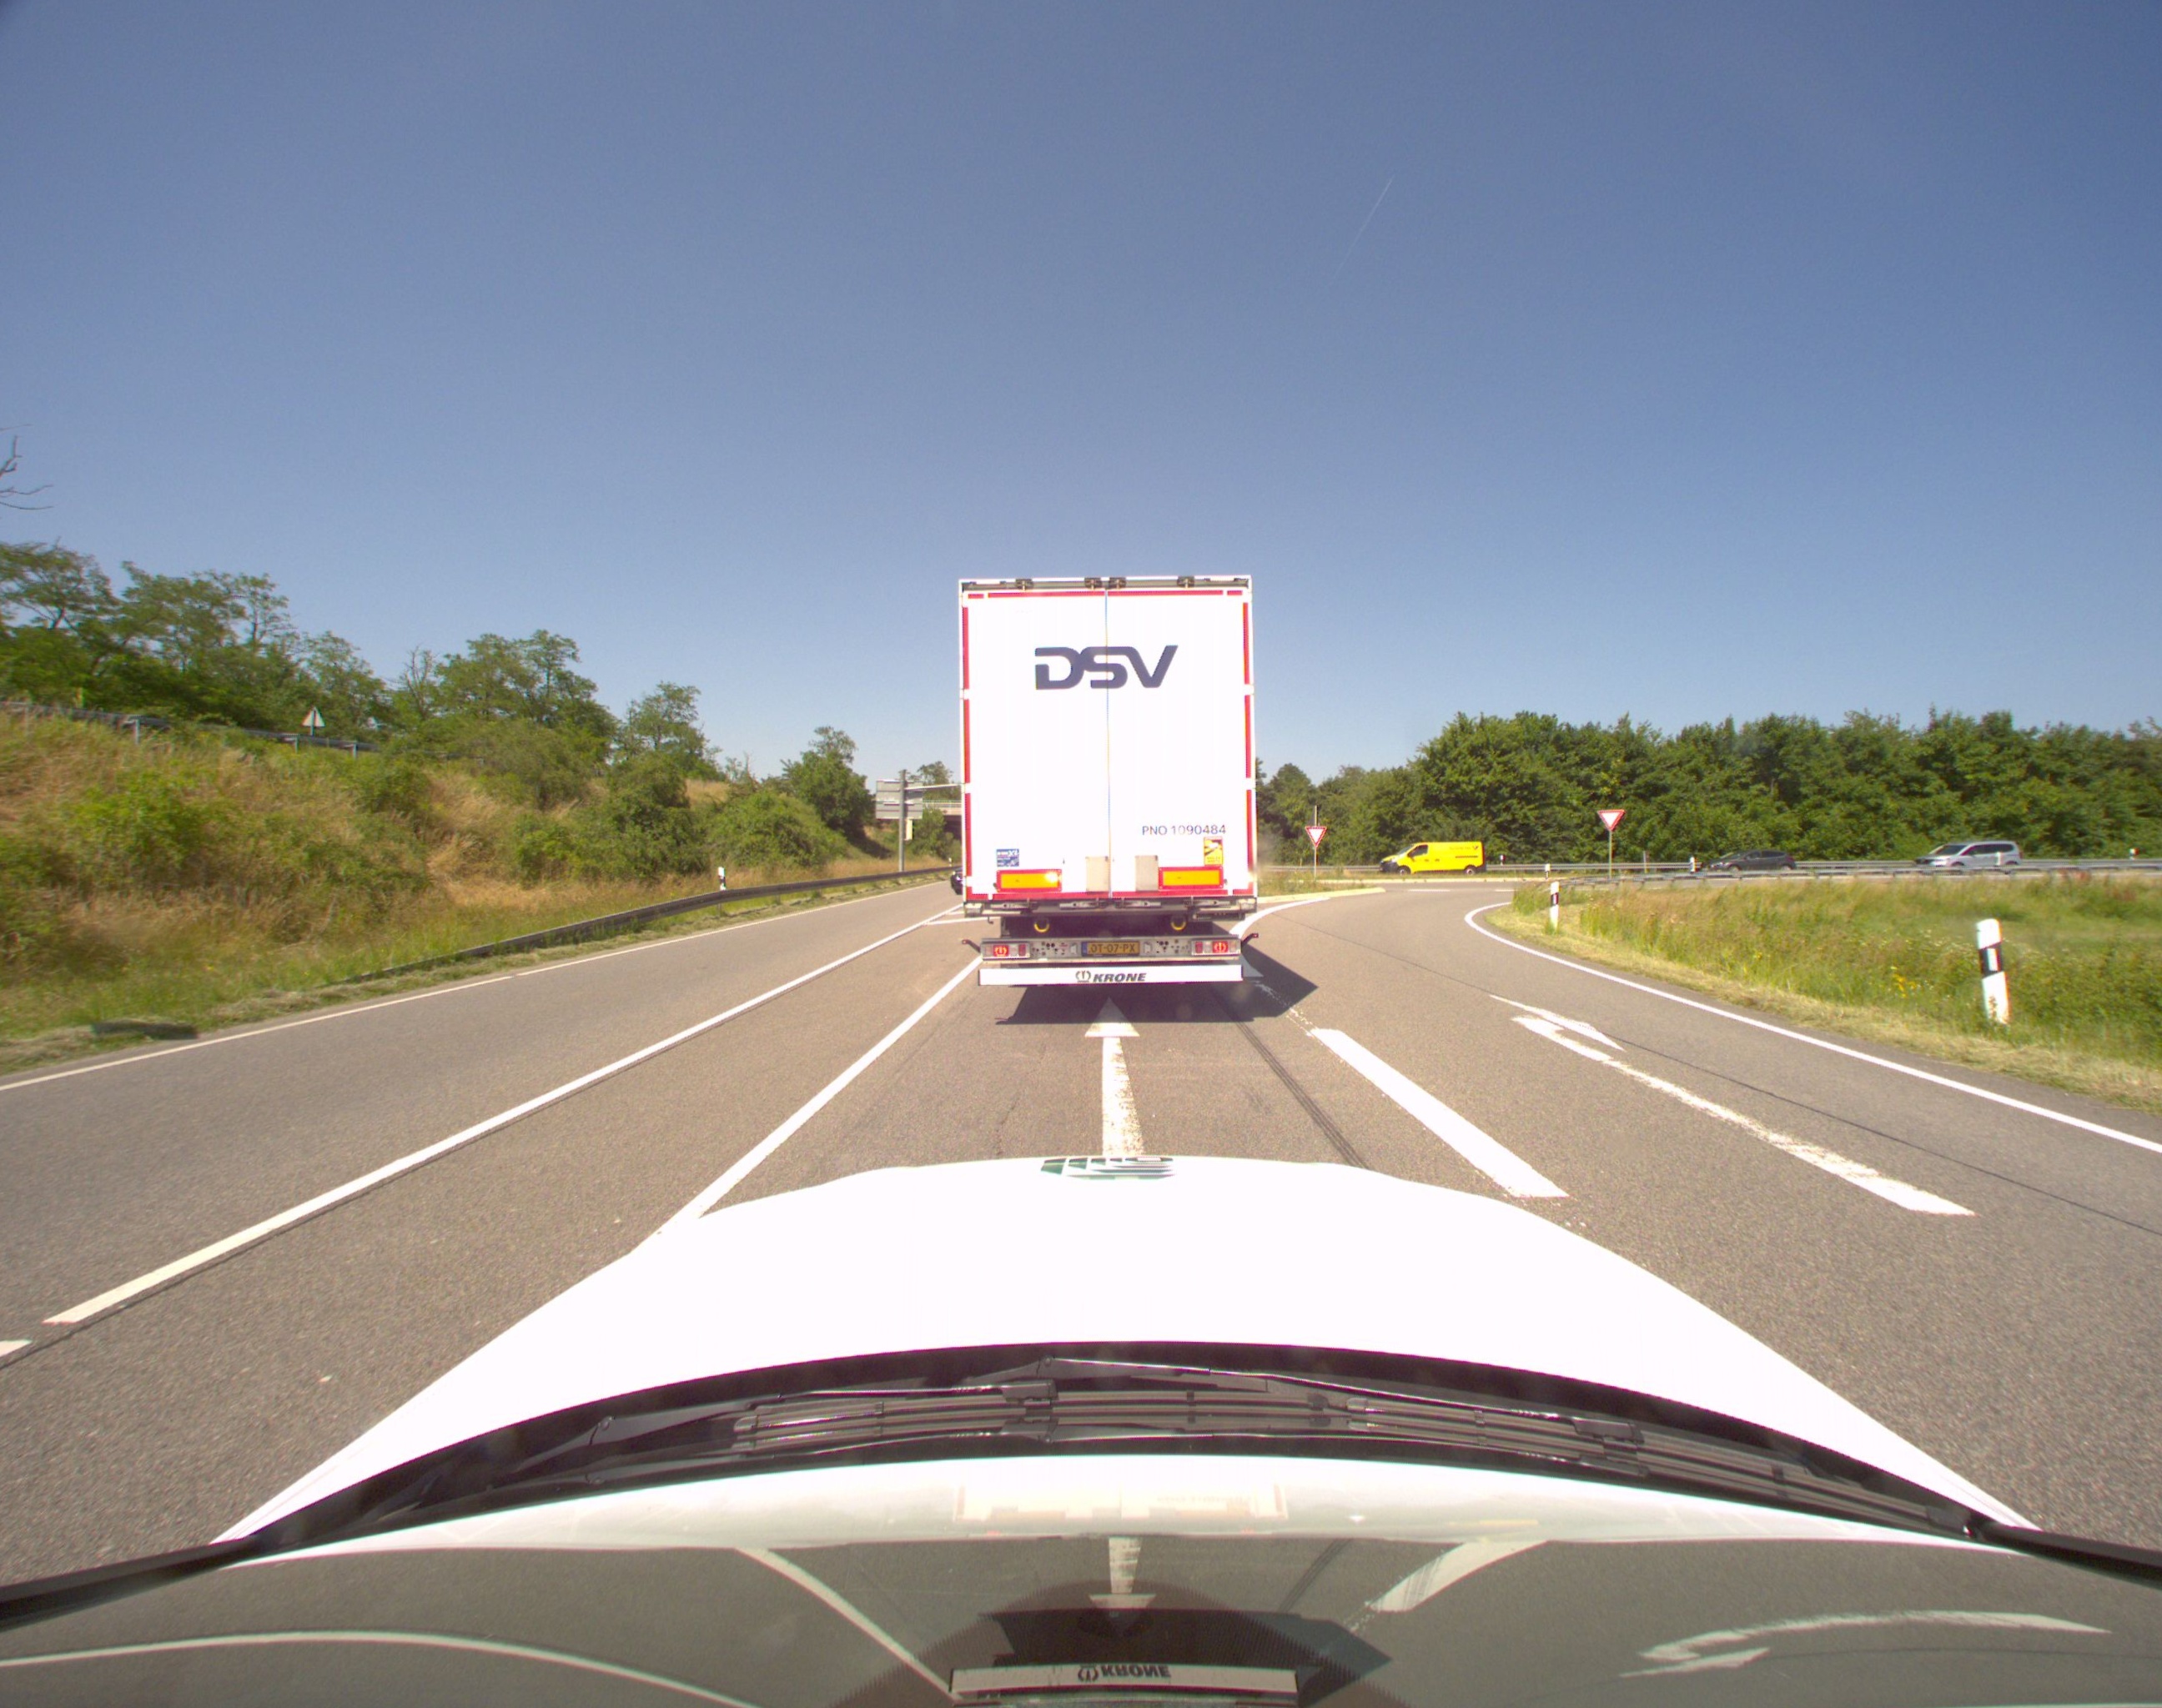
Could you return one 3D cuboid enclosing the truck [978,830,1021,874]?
[{"bbox_3d":[-6.898,-0.115,70.115,2.634,3.538,7.893,-1,-1,2],"label":"truck"}]

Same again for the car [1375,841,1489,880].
[{"bbox_3d":[18.836,0.372,43.930,5.297,2.014,2.003,-1,-1,4],"label":"car"}]

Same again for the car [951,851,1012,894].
[{"bbox_3d":[-3.961,0.699,33.059,1.755,1.598,4.503,-1,0,2],"label":"car"}]

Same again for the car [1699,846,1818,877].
[{"bbox_3d":[35.828,0.398,43.145,4.662,1.514,1.855,-1,-1,3],"label":"car"}]

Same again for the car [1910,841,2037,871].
[{"bbox_3d":[47.120,0.097,43.073,4.666,1.514,1.853,-1,-1,0],"label":"car"}]

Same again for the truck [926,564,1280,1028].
[{"bbox_3d":[0.295,-0.480,11.910,2.977,3.942,9.877,-1,0,1],"label":"truck"}]
